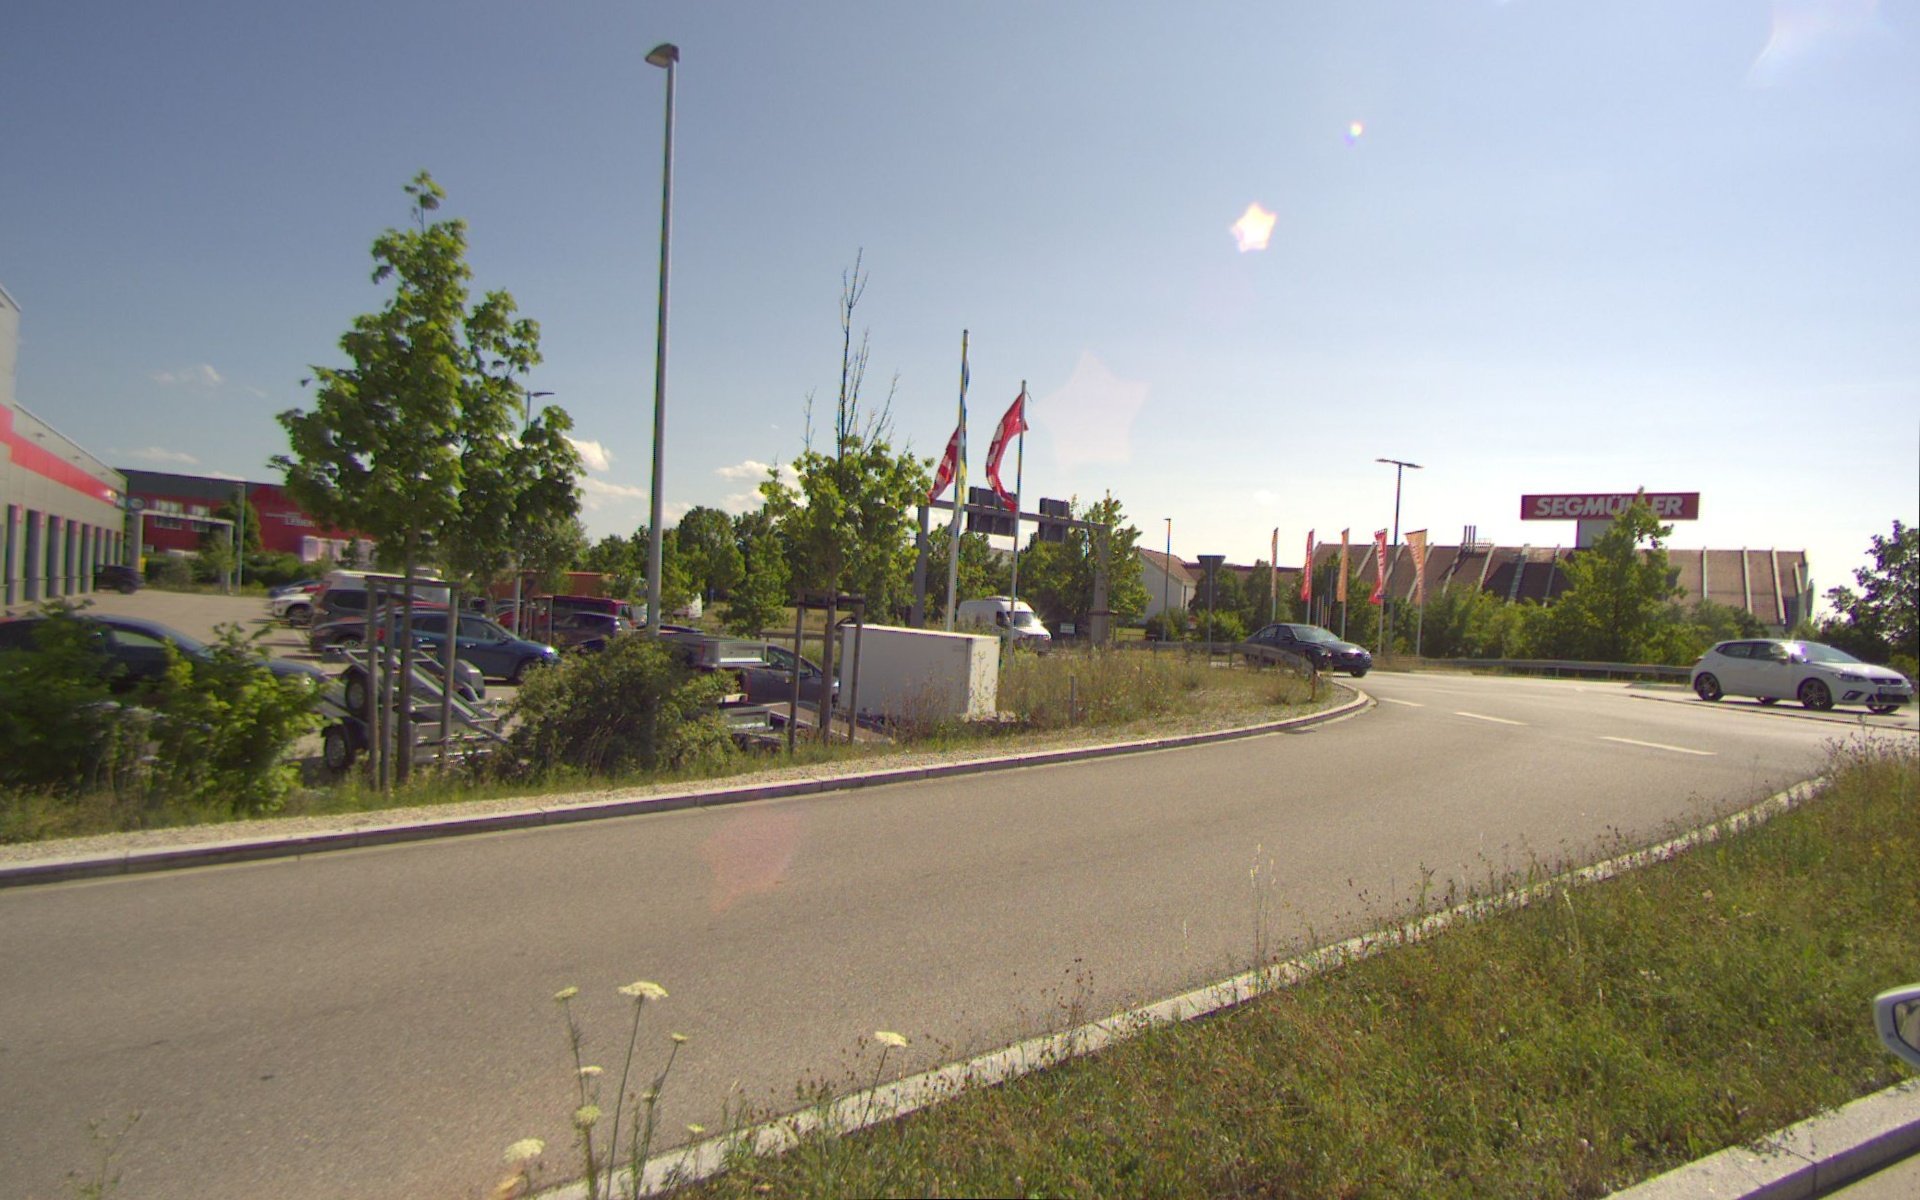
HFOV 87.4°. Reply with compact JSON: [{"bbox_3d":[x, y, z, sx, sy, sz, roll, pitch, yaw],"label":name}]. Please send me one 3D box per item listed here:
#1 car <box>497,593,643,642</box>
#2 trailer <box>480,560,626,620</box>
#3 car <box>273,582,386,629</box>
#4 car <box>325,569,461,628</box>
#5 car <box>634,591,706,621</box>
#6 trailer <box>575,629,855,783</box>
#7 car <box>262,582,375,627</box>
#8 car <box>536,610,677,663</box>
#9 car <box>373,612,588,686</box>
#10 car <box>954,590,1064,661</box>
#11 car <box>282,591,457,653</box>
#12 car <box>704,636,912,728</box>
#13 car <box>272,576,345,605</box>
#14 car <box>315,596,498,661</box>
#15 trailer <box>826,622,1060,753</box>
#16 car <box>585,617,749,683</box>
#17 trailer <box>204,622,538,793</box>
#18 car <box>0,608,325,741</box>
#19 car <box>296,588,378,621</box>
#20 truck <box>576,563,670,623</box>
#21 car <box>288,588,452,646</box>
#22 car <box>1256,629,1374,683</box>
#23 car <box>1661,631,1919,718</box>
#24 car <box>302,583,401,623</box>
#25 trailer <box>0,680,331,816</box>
[{"bbox_3d":[-13.712,0.592,35.502,4.368,1.483,1.825,3,1,-1],"label":"car"},{"bbox_3d":[-31.569,-0.802,77.695,12.123,4.209,2.560,2,0,23],"label":"trailer"},{"bbox_3d":[-24.827,0.215,39.621,3.655,1.672,1.728,2,1,-34],"label":"car"},{"bbox_3d":[-21.666,-0.048,38.467,4.308,2.040,1.884,2,1,-36],"label":"car"},{"bbox_3d":[-25.014,0.477,86.457,6.157,2.264,2.037,3,1,27],"label":"car"},{"bbox_3d":[-3.613,1.456,14.874,3.626,1.795,1.806,3,1,24],"label":"trailer"},{"bbox_3d":[-26.318,0.188,41.257,3.711,1.672,1.724,2,1,-39],"label":"car"},{"bbox_3d":[-11.515,1.173,32.898,3.922,1.483,1.825,3,1,-1],"label":"car"},{"bbox_3d":[-10.457,1.056,22.020,3.964,1.483,1.806,2,-2,-37],"label":"car"},{"bbox_3d":[2.155,1.111,46.797,2.060,2.960,6.089,2,1,-30],"label":"car"},{"bbox_3d":[-15.947,0.613,27.258,3.956,1.483,1.809,3,1,-32],"label":"car"},{"bbox_3d":[-3.017,1.591,20.121,3.707,1.572,1.727,2,1,-35],"label":"car"},{"bbox_3d":[-41.358,-0.609,63.799,3.711,1.672,1.724,2,1,-39],"label":"car"},{"bbox_3d":[-14.150,0.734,25.782,3.956,1.483,1.809,3,1,-32],"label":"car"},{"bbox_3d":[-0.298,1.454,17.826,3.626,1.795,1.806,5,2,24],"label":"trailer"},{"bbox_3d":[-8.039,1.355,27.823,3.923,1.483,1.825,5,-1,-1],"label":"car"},{"bbox_3d":[-7.297,1.205,12.460,3.626,1.470,1.707,6,2,24],"label":"trailer"},{"bbox_3d":[-11.057,0.931,13.253,4.448,1.503,1.787,2,1,-32],"label":"car"},{"bbox_3d":[-34.817,0.247,56.171,3.711,1.672,1.724,2,1,-39],"label":"car"},{"bbox_3d":[-25.094,-0.536,74.851,6.310,4.161,2.662,3,0,23],"label":"truck"},{"bbox_3d":[-17.104,0.494,29.247,3.956,1.483,1.809,3,1,-32],"label":"car"},{"bbox_3d":[10.057,1.555,28.782,1.645,1.198,3.861,3,1,-6],"label":"car"},{"bbox_3d":[17.815,1.523,21.703,1.759,1.424,4.408,3,1,-10],"label":"car"},{"bbox_3d":[-28.160,0.141,46.544,3.711,1.672,1.724,2,1,-39],"label":"car"},{"bbox_3d":[-8.429,1.461,10.560,2.784,0.893,1.865,3,1,25],"label":"trailer"}]
